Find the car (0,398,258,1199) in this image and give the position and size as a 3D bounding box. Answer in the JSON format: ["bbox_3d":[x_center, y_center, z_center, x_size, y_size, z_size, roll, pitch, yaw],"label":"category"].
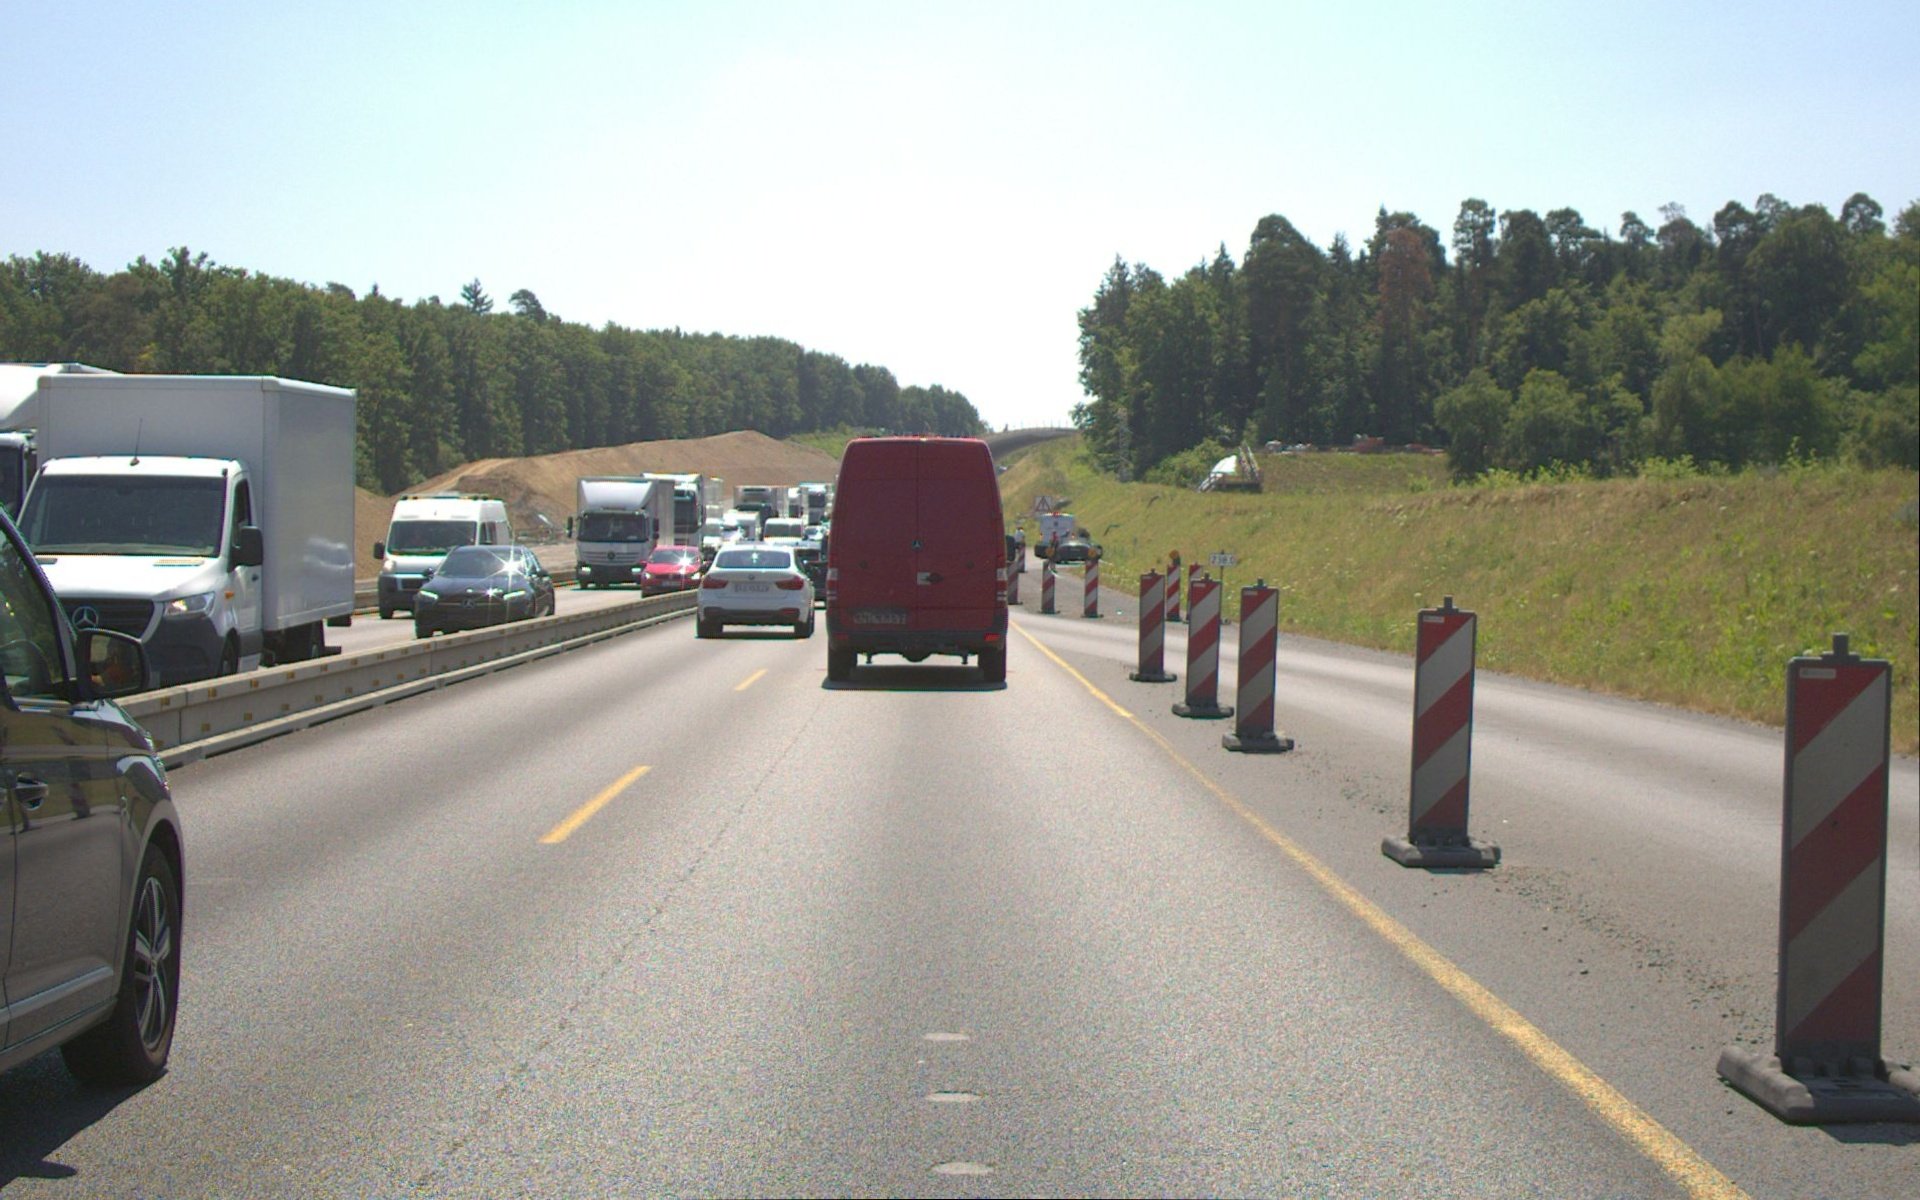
[{"bbox_3d":[-3.000,0.438,8.048,1.751,1.818,4.783,1,2,0],"label":"car"}]

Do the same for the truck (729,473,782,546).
[{"bbox_3d":[-12.116,-5.356,203.959,2.491,4.184,5.911,-1,1,2],"label":"truck"}]

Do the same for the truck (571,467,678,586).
[{"bbox_3d":[-11.006,-2.375,113.404,2.644,3.703,9.483,1,1,-1],"label":"truck"}]

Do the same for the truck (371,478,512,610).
[{"bbox_3d":[-10.760,-1.226,71.757,2.098,2.560,6.355,2,2,-2],"label":"truck"}]

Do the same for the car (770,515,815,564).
[{"bbox_3d":[-8.082,-2.928,166.506,1.993,2.284,5.344,1,1,-1],"label":"car"}]

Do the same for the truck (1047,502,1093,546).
[{"bbox_3d":[6.311,-4.393,197.249,2.130,2.448,5.924,1,2,6],"label":"truck"}]

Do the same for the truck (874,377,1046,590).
[{"bbox_3d":[-0.066,-3.124,97.893,4.400,5.477,16.604,1,1,0],"label":"truck"}]

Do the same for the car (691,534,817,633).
[{"bbox_3d":[-3.319,-0.282,56.027,1.831,1.517,3.961,1,1,0],"label":"car"}]

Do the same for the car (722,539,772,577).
[{"bbox_3d":[-8.273,-1.621,133.789,1.857,1.437,4.502,1,1,-3],"label":"car"}]

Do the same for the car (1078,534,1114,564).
[{"bbox_3d":[7.106,-2.687,179.392,1.654,1.422,4.545,-2,2,0],"label":"car"}]

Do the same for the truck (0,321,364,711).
[{"bbox_3d":[-7.110,-0.721,31.603,2.271,3.139,7.314,1,1,-3],"label":"truck"}]

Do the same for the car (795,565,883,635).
[{"bbox_3d":[-2.879,-0.015,82.353,1.967,1.536,4.311,1,2,0],"label":"car"}]

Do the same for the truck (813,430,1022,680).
[{"bbox_3d":[-0.481,-0.498,38.696,2.153,2.581,5.333,1,1,-1],"label":"truck"}]

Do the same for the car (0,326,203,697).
[{"bbox_3d":[-10.838,-1.008,38.627,2.908,3.727,8.091,1,1,-1],"label":"car"}]

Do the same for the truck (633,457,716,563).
[{"bbox_3d":[-11.039,-3.448,133.298,2.848,4.004,4.859,-1,1,-1],"label":"truck"}]

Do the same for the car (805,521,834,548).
[{"bbox_3d":[-8.717,-4.050,213.300,1.688,1.608,4.594,1,1,-1],"label":"car"}]

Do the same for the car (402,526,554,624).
[{"bbox_3d":[-7.656,-0.406,54.954,1.788,1.477,4.561,1,1,0],"label":"car"}]
